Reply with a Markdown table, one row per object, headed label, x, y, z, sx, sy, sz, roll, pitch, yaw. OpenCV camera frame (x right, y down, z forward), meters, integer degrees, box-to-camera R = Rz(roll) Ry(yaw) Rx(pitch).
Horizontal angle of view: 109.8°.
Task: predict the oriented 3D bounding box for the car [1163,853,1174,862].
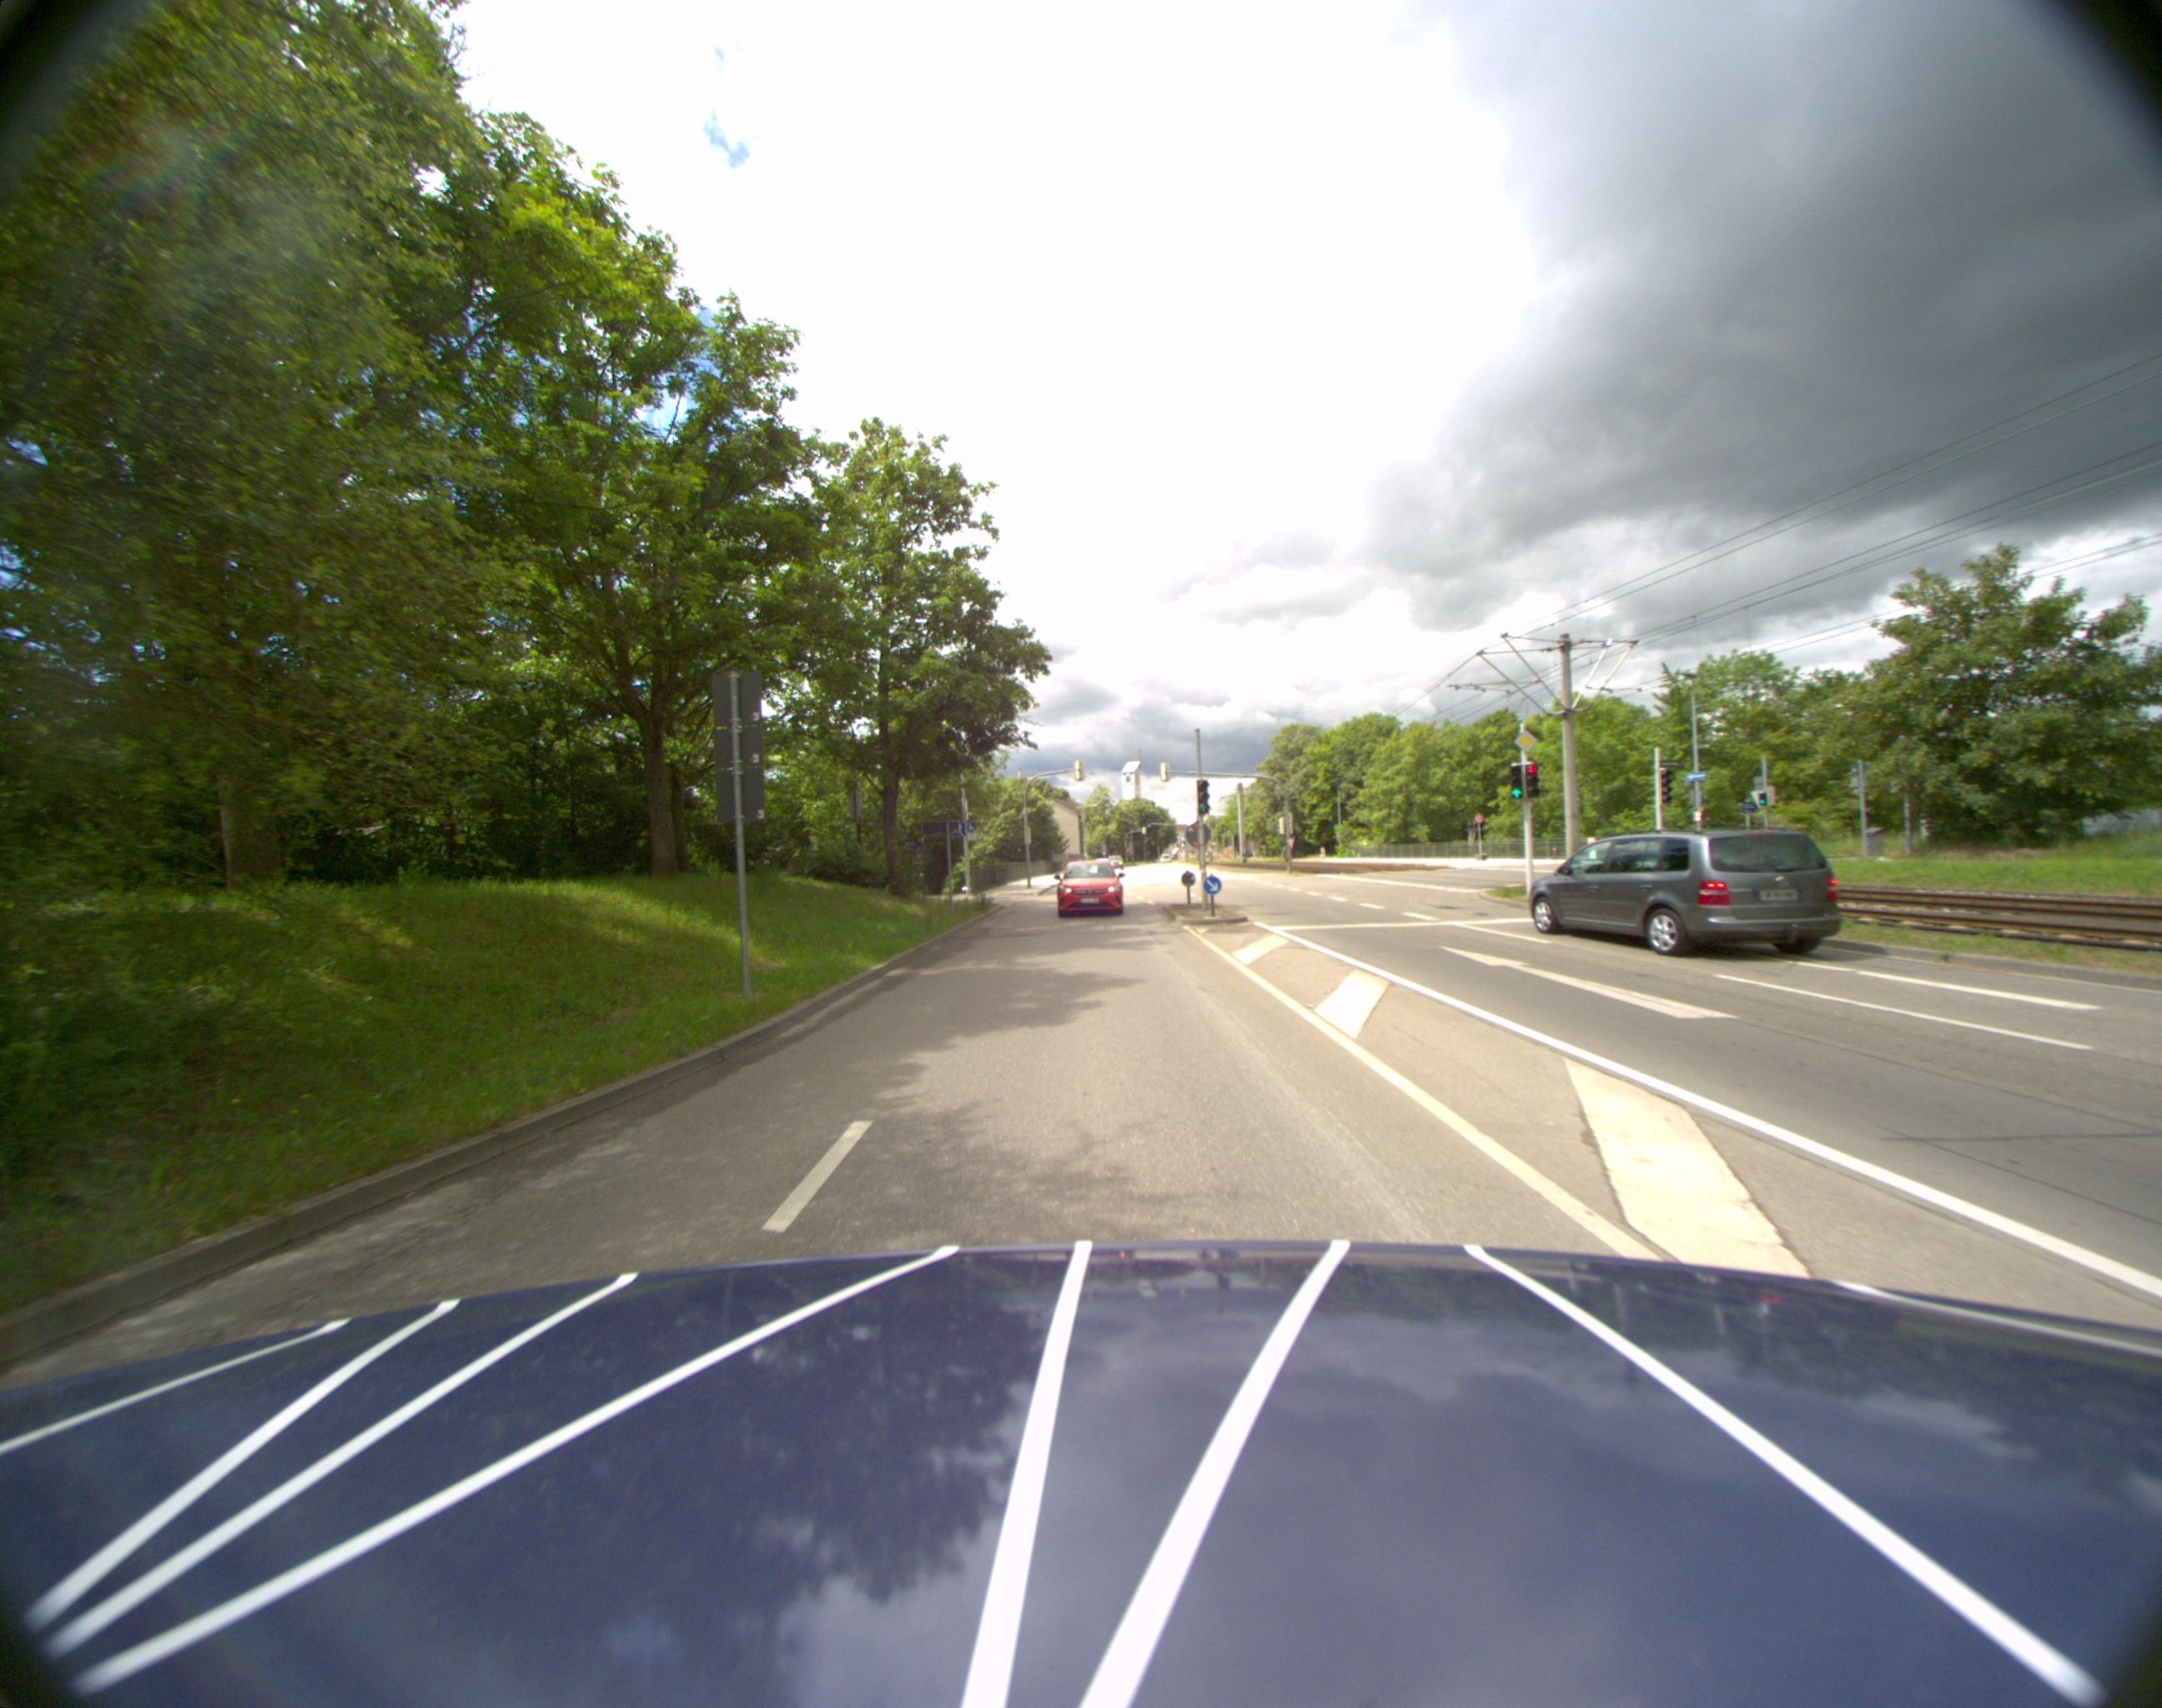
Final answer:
| label | x | y | z | sx | sy | sz | roll | pitch | yaw |
| --- | --- | --- | --- | --- | --- | --- | --- | --- | --- |
| car | 15.354 | 0.528 | 133.311 | 1.789 | 1.340 | 4.853 | -3 | 1 | 4 |

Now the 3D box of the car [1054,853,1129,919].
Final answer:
| label | x | y | z | sx | sy | sz | roll | pitch | yaw |
| --- | --- | --- | --- | --- | --- | --- | --- | --- | --- |
| car | 0.258 | 0.795 | 21.260 | 1.790 | 1.453 | 4.851 | -3 | 1 | 0 |

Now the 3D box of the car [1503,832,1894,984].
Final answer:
| label | x | y | z | sx | sy | sz | roll | pitch | yaw |
| --- | --- | --- | --- | --- | --- | --- | --- | --- | --- |
| car | 8.275 | 0.573 | 10.898 | 1.998 | 1.650 | 4.522 | -3 | 1 | 2 |
